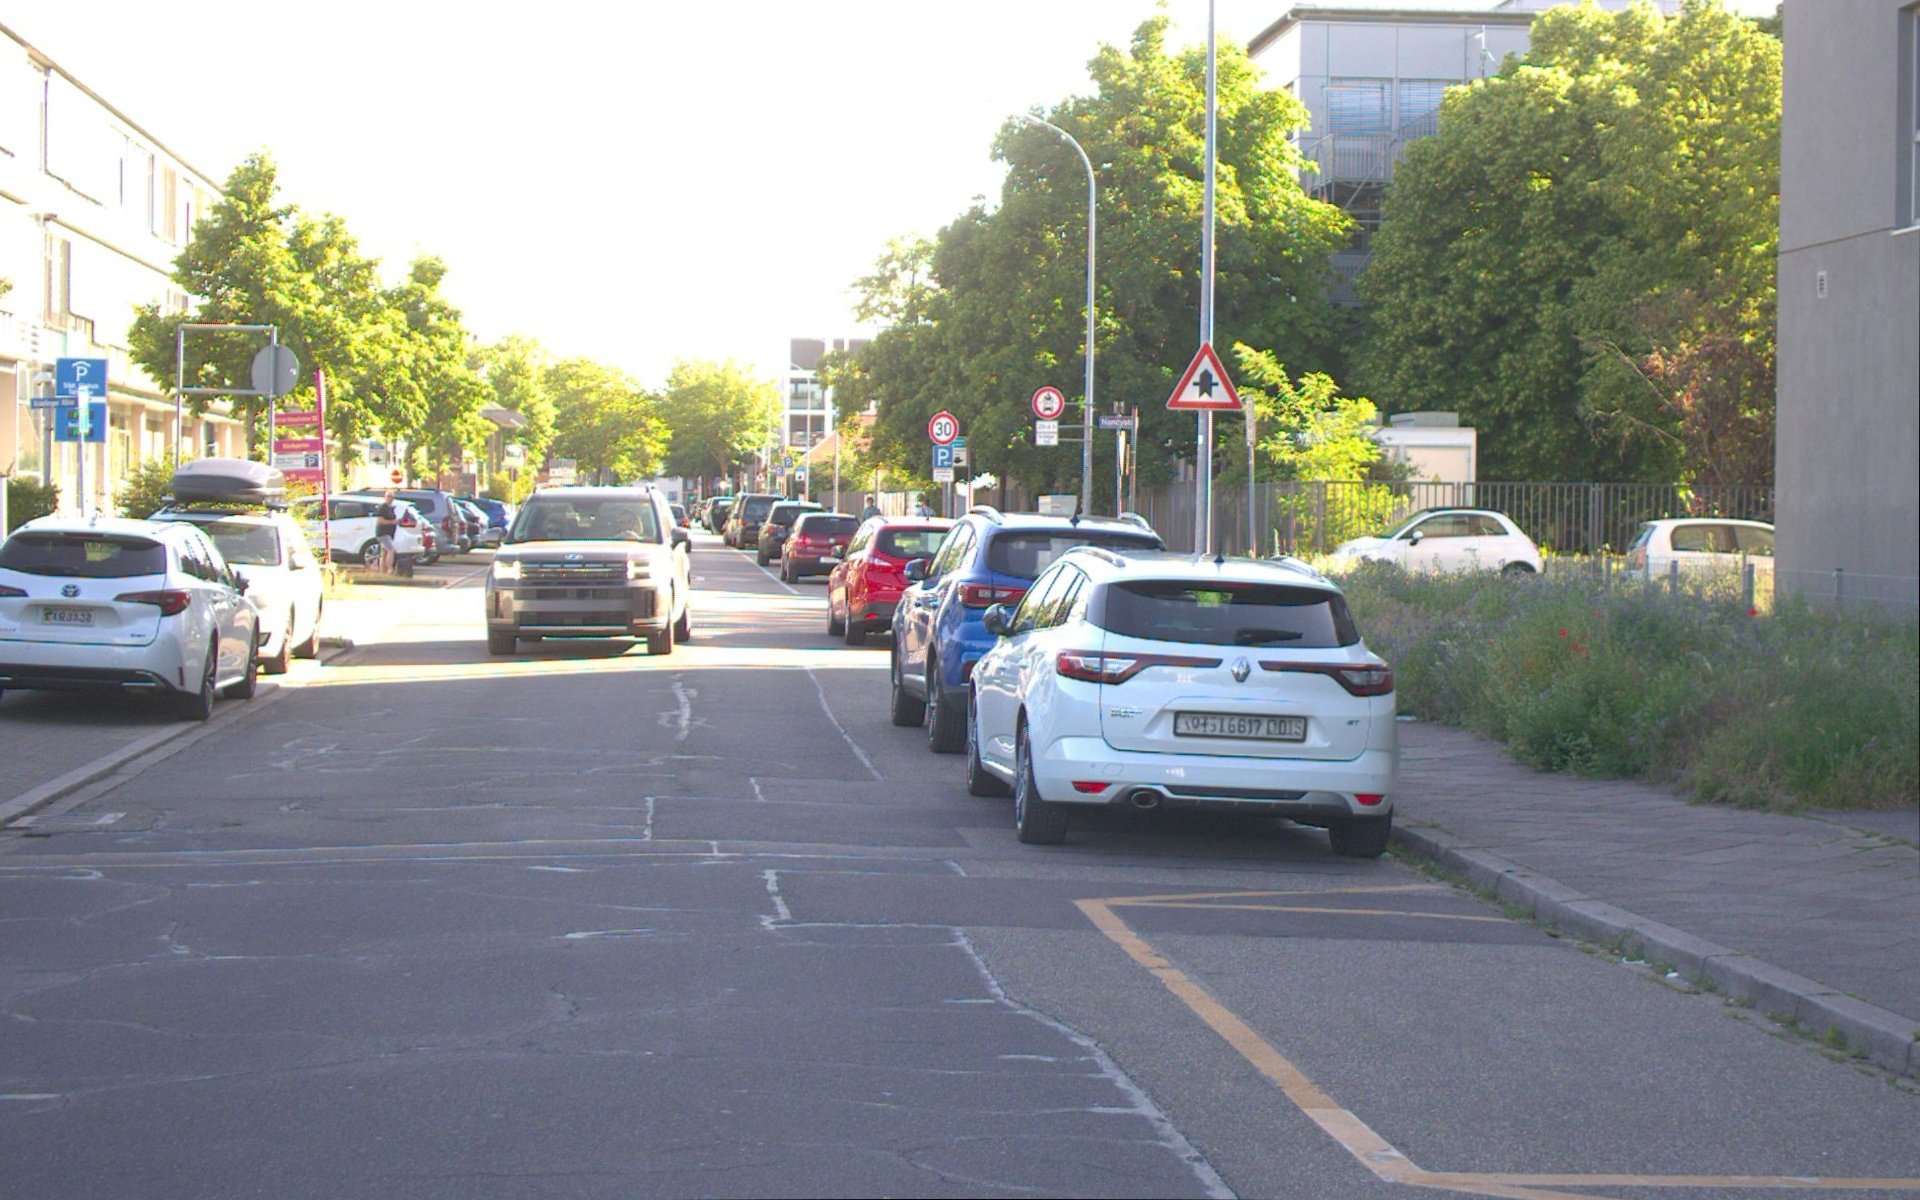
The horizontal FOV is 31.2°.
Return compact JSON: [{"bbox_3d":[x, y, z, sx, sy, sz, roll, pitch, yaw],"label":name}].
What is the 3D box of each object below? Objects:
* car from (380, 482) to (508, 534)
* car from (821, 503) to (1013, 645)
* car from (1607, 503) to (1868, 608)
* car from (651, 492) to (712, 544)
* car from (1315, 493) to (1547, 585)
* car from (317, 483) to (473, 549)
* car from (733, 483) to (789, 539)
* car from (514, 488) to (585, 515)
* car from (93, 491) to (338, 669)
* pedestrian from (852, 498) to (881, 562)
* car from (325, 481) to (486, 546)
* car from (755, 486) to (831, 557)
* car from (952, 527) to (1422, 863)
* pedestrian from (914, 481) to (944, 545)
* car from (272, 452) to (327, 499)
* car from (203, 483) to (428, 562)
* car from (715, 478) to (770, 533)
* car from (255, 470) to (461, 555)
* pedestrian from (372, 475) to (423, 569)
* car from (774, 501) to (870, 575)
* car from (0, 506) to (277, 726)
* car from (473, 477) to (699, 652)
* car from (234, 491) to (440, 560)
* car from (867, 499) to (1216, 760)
[{"bbox_3d":[-17.496,-3.122,116.635,4.213,1.597,1.873,2,2,-9],"label":"car"},{"bbox_3d":[-0.566,-0.351,40.437,1.818,1.494,4.453,2,2,-6],"label":"car"},{"bbox_3d":[11.120,-0.652,49.313,3.326,1.453,1.715,1,2,0],"label":"car"},{"bbox_3d":[-8.504,-2.518,105.218,1.743,1.538,4.001,1,2,-4],"label":"car"},{"bbox_3d":[7.827,-1.020,57.294,3.546,1.480,1.601,0,2,-4],"label":"car"},{"bbox_3d":[-14.943,-2.230,91.014,3.986,1.601,1.873,2,2,-9],"label":"car"},{"bbox_3d":[-6.600,-2.953,113.615,1.732,1.824,3.906,1,2,-5],"label":"car"},{"bbox_3d":[-23.864,-5.729,199.999,3.986,1.514,2.000,1,0,-5],"label":"car"},{"bbox_3d":[-7.024,-0.242,32.813,1.695,1.508,4.518,3,2,-5],"label":"car"},{"bbox_3d":[-2.602,-1.947,95.457,0.717,1.752,0.885,-2,2,-4],"label":"pedestrian"},{"bbox_3d":[-15.133,-2.360,93.961,4.245,1.606,2.049,2,2,-9],"label":"car"},{"bbox_3d":[-4.344,-2.045,88.765,1.812,1.660,4.593,2,3,-4],"label":"car"},{"bbox_3d":[1.030,0.388,17.944,1.744,1.424,4.587,2,2,-5],"label":"car"},{"bbox_3d":[-0.823,-2.280,90.299,0.698,1.655,0.752,-2,2,-5],"label":"pedestrian"},{"bbox_3d":[-29.670,-5.586,154.500,1.993,2.007,4.001,1,1,-5],"label":"car"},{"bbox_3d":[-14.154,-1.713,75.648,4.611,1.645,1.868,1,1,-1],"label":"car"},{"bbox_3d":[-7.995,-3.486,125.999,1.874,1.971,4.001,-1,2,-5],"label":"car"},{"bbox_3d":[-14.680,-2.146,84.016,4.741,1.858,1.828,2,2,-5],"label":"car"},{"bbox_3d":[-11.213,-1.555,68.540,0.857,1.836,0.826,2,1,-3],"label":"pedestrian"},{"bbox_3d":[-2.950,-1.334,72.705,1.719,1.449,4.653,2,2,-6],"label":"car"},{"bbox_3d":[-6.393,0.053,26.280,1.746,1.441,4.542,2,2,-5],"label":"car"},{"bbox_3d":[-3.923,-0.433,36.788,1.942,1.721,4.839,-1,2,-1],"label":"car"},{"bbox_3d":[-14.173,-1.702,78.399,4.433,1.495,1.828,1,1,-4],"label":"car"},{"bbox_3d":[0.465,0.125,24.285,1.816,1.594,4.629,2,2,-6],"label":"car"}]
